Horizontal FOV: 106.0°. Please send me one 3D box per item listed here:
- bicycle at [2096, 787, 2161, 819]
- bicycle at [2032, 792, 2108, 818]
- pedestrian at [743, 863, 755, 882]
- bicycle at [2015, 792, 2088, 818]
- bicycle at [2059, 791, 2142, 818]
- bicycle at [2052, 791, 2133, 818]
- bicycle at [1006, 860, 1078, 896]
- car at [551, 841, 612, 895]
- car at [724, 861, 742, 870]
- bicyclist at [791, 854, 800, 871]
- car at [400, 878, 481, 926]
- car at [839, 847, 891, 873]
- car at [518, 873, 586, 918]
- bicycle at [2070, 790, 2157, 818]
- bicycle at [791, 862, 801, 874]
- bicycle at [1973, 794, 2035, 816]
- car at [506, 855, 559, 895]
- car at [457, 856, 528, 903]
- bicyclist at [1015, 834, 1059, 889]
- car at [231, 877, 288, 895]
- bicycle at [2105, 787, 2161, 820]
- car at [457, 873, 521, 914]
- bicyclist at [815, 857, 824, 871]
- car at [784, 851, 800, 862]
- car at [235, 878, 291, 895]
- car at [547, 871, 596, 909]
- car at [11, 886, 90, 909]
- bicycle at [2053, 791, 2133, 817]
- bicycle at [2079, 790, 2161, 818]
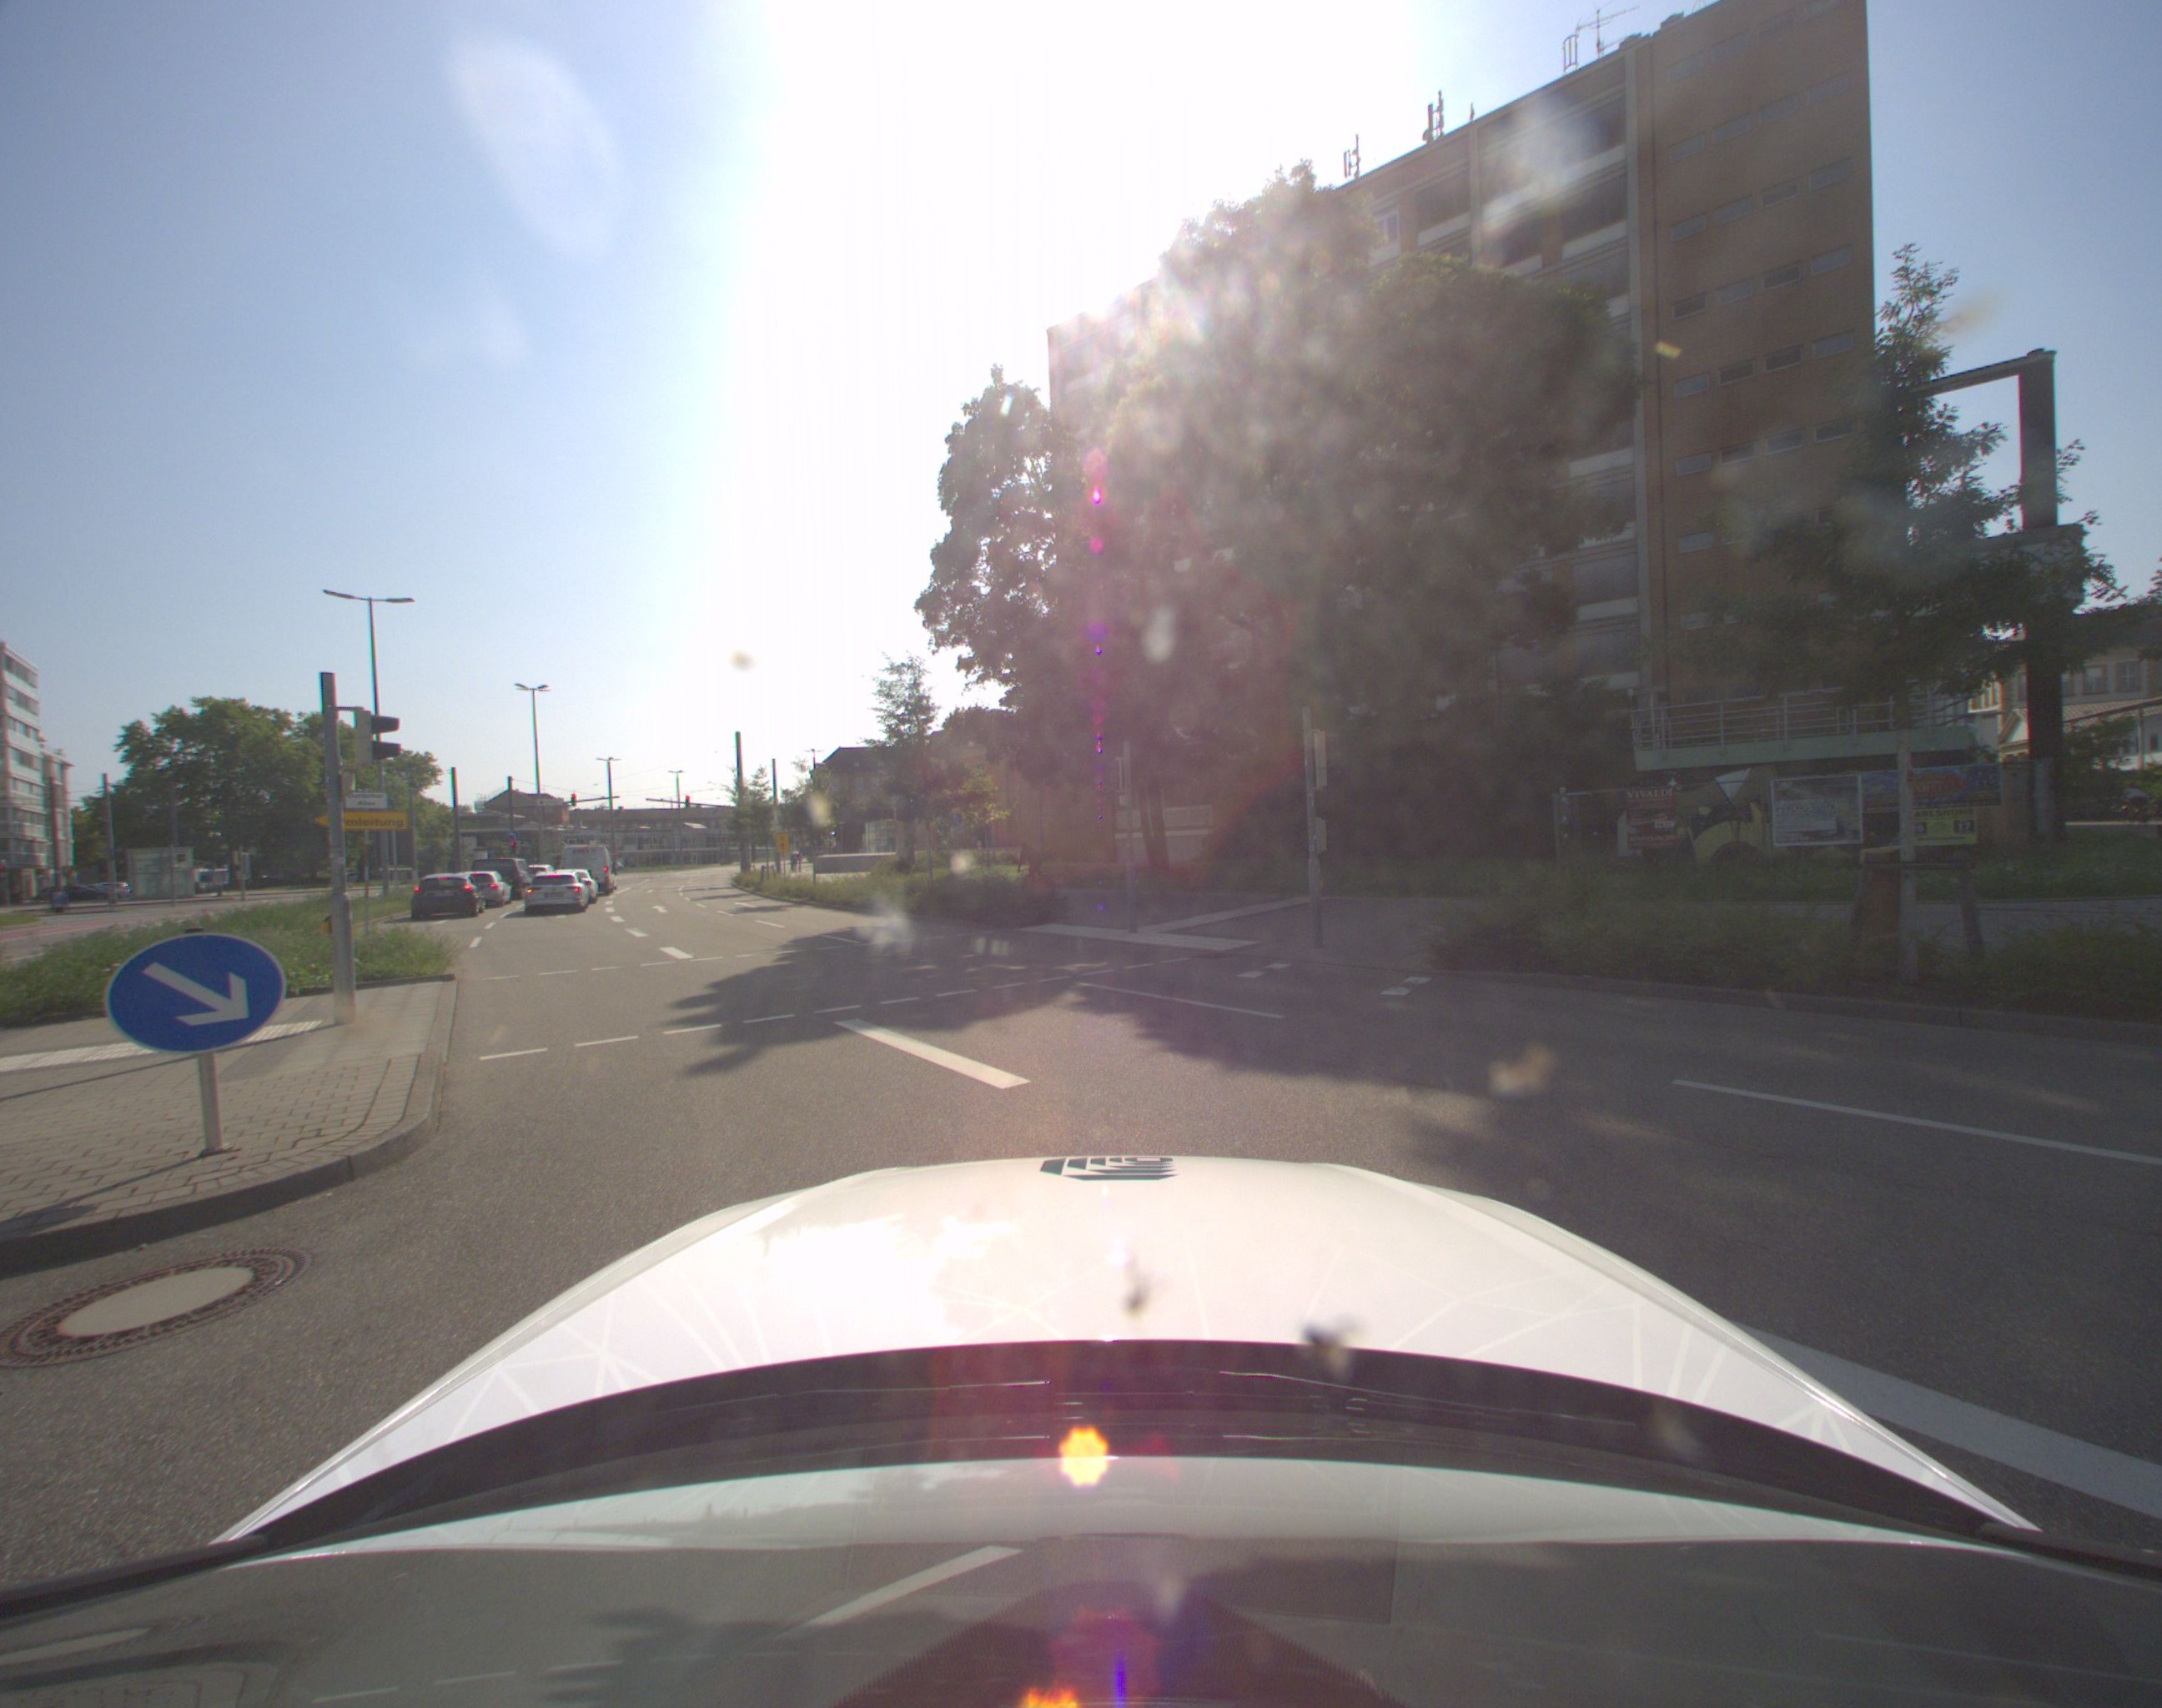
[{"bbox_3d":[45.737,-2.188,35.076,2.403,1.318,0.725,0,2,40],"label":"bicycle"},{"bbox_3d":[51.444,-2.557,42.412,2.403,1.281,0.725,0,2,40],"label":"bicycle"},{"bbox_3d":[-24.515,1.328,60.101,0.640,1.362,0.627,-3,0,-33],"label":"pedestrian"},{"bbox_3d":[51.844,-2.601,43.522,2.403,1.281,0.725,0,2,40],"label":"bicycle"},{"bbox_3d":[49.383,-2.375,39.474,2.403,1.234,0.725,0,2,40],"label":"bicycle"},{"bbox_3d":[49.933,-2.417,40.233,2.403,1.239,0.725,0,2,40],"label":"bicycle"},{"bbox_3d":[-1.168,0.705,24.055,2.122,0.976,0.779,-2,1,40],"label":"bicycle"},{"bbox_3d":[-25.331,0.704,41.445,2.201,2.549,4.642,-2,0,-27],"label":"car"},{"bbox_3d":[-66.620,2.151,155.752,1.991,1.442,3.992,-3,1,-6],"label":"car"},{"bbox_3d":[-26.497,0.820,75.595,0.714,1.529,0.802,-3,0,-16],"label":"bicyclist"},{"bbox_3d":[-21.151,1.543,27.029,1.713,1.368,3.922,-2,0,-33],"label":"car"},{"bbox_3d":[-18.499,0.489,69.795,1.731,2.013,4.025,1,3,41],"label":"car"},{"bbox_3d":[-18.169,1.387,28.111,1.695,1.387,3.599,-2,0,-29],"label":"car"},{"bbox_3d":[48.177,-2.305,38.042,2.403,1.223,0.725,0,2,40],"label":"bicycle"},{"bbox_3d":[-26.466,1.330,75.586,0.707,1.061,1.971,-3,1,-16],"label":"bicycle"},{"bbox_3d":[56.506,-2.972,49.884,2.403,1.280,0.725,0,2,40],"label":"bicycle"},{"bbox_3d":[-30.742,1.153,45.773,2.036,2.008,4.639,-2,0,-29],"label":"car"},{"bbox_3d":[-27.775,1.183,38.583,2.035,2.008,4.640,-2,0,-28],"label":"car"},{"bbox_3d":[-1.297,0.221,24.140,0.978,1.578,0.779,-2,1,40],"label":"bicyclist"},{"bbox_3d":[-86.670,3.387,85.994,4.020,1.618,1.792,-3,1,-39],"label":"car"},{"bbox_3d":[45.023,-2.129,34.184,2.403,1.318,0.725,0,2,40],"label":"bicycle"},{"bbox_3d":[-23.759,1.534,32.790,1.498,1.415,3.615,-2,1,-27],"label":"car"},{"bbox_3d":[-25.076,0.953,78.015,0.707,1.394,0.825,-3,0,-16],"label":"bicyclist"},{"bbox_3d":[-57.136,0.427,161.048,2.415,2.013,4.758,-3,1,-12],"label":"car"},{"bbox_3d":[-88.282,3.488,87.957,4.020,1.618,1.792,-3,1,-39],"label":"car"},{"bbox_3d":[-21.186,1.459,33.958,1.498,1.403,3.905,-2,0,-29],"label":"car"},{"bbox_3d":[-90.789,3.816,71.814,4.022,1.557,1.847,-3,3,-42],"label":"car"},{"bbox_3d":[50.789,-2.491,40.895,2.403,1.228,0.725,0,2,40],"label":"bicycle"},{"bbox_3d":[47.379,-2.263,37.039,2.403,1.223,0.725,0,2,40],"label":"bicycle"}]
